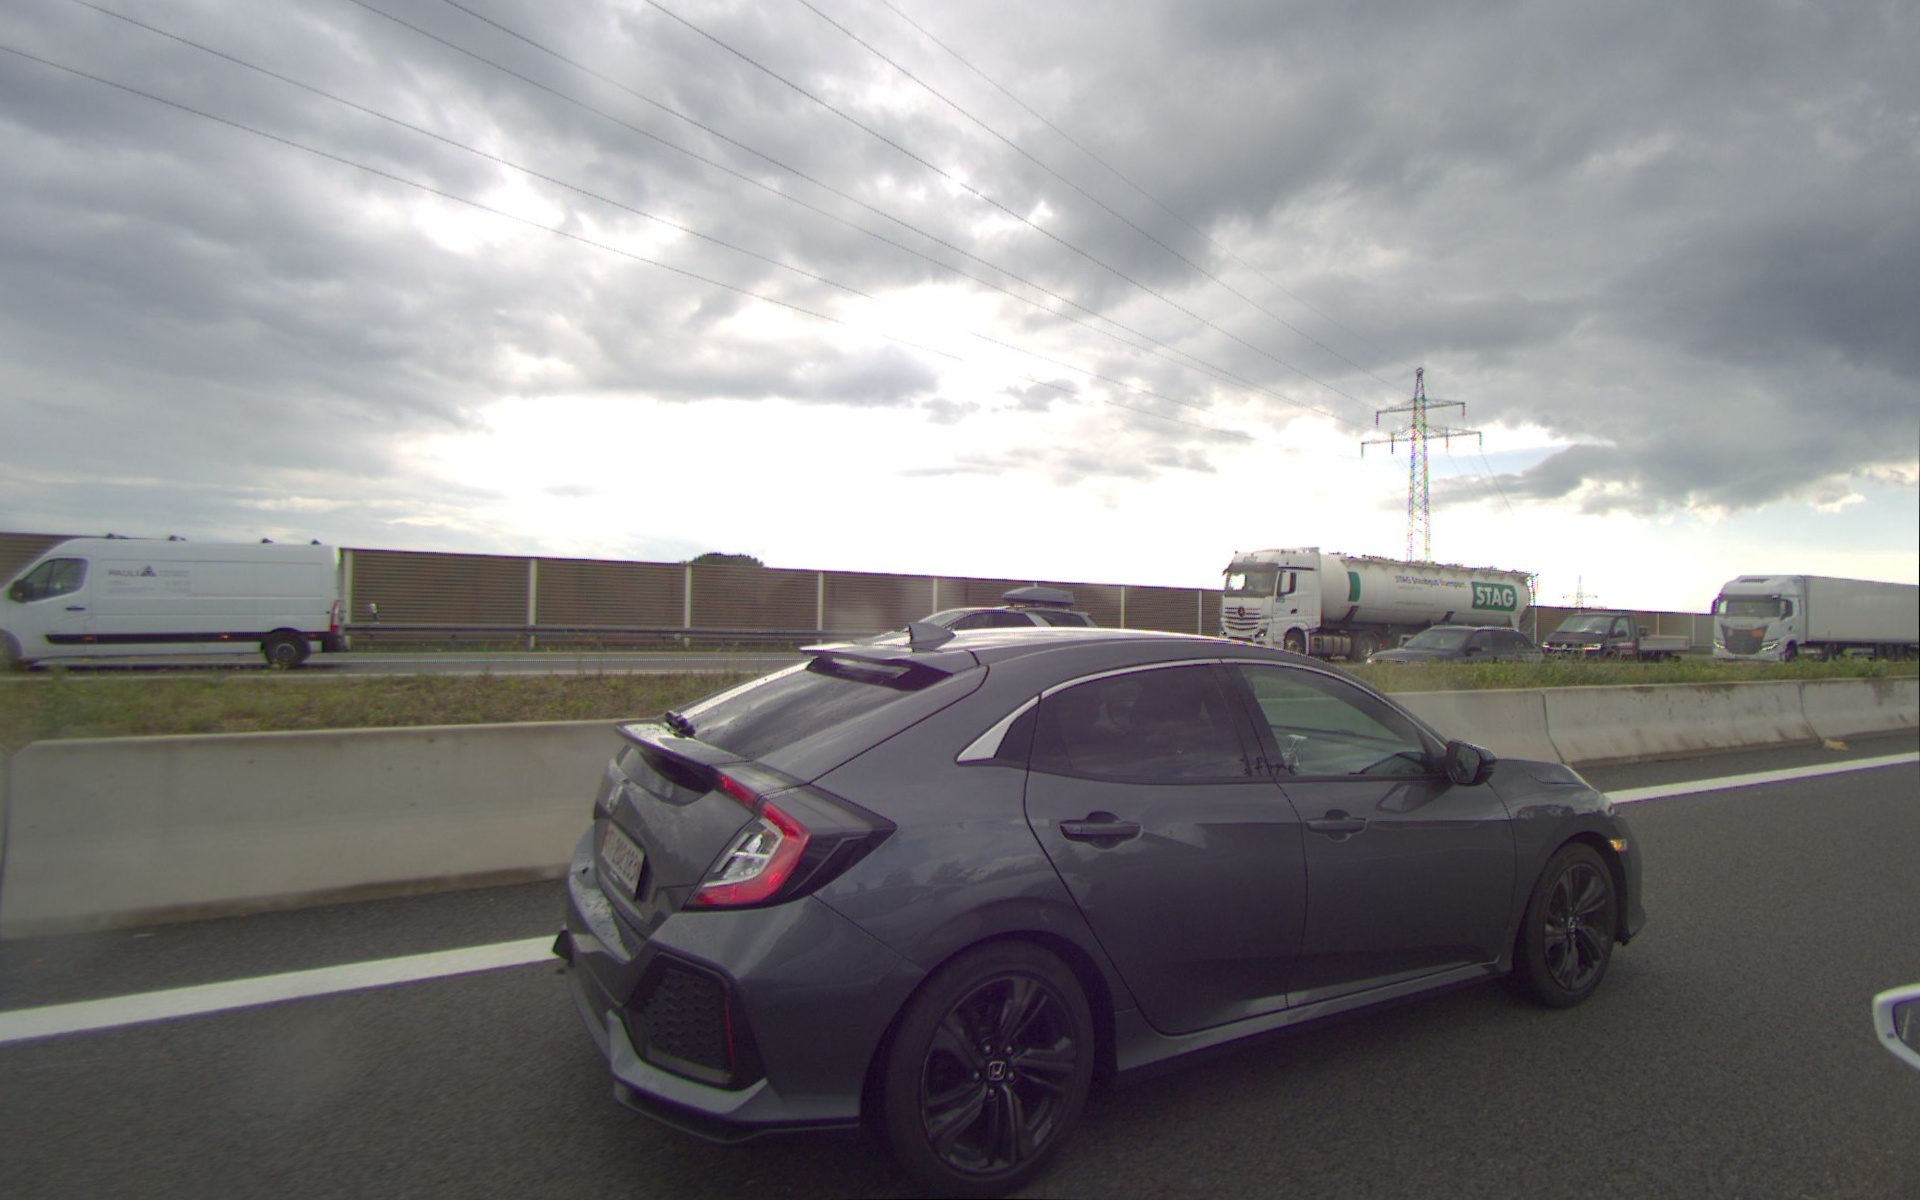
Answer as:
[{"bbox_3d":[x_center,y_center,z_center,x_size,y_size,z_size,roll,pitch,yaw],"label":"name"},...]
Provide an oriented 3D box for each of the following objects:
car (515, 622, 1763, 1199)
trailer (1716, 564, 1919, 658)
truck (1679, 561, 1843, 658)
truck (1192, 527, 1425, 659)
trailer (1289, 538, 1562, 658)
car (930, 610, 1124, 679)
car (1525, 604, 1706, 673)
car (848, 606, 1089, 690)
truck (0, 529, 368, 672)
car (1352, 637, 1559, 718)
[{"bbox_3d":[1.054,0.831,4.013,5.002,1.387,1.751,1,0,-31],"label":"car"},{"bbox_3d":[42.366,0.629,49.092,13.238,4.163,3.643,2,0,-30],"label":"trailer"},{"bbox_3d":[36.456,0.458,45.716,6.446,4.102,3.644,2,0,-29],"label":"truck"},{"bbox_3d":[12.894,-0.144,37.044,8.142,4.376,3.642,2,0,-30],"label":"truck"},{"bbox_3d":[19.118,0.056,40.768,12.322,4.293,3.642,2,0,-31],"label":"trailer"},{"bbox_3d":[1.682,1.066,24.524,4.513,1.488,1.778,2,0,-31],"label":"car"},{"bbox_3d":[21.095,1.224,32.246,6.011,1.994,2.271,2,0,-29],"label":"car"},{"bbox_3d":[0.222,0.921,19.961,4.513,1.473,1.778,2,0,-31],"label":"car"},{"bbox_3d":[-15.192,0.053,19.594,6.192,2.484,2.092,2,0,-31],"label":"truck"},{"bbox_3d":[10.515,1.583,21.227,4.513,1.473,1.778,2,0,-31],"label":"car"}]
